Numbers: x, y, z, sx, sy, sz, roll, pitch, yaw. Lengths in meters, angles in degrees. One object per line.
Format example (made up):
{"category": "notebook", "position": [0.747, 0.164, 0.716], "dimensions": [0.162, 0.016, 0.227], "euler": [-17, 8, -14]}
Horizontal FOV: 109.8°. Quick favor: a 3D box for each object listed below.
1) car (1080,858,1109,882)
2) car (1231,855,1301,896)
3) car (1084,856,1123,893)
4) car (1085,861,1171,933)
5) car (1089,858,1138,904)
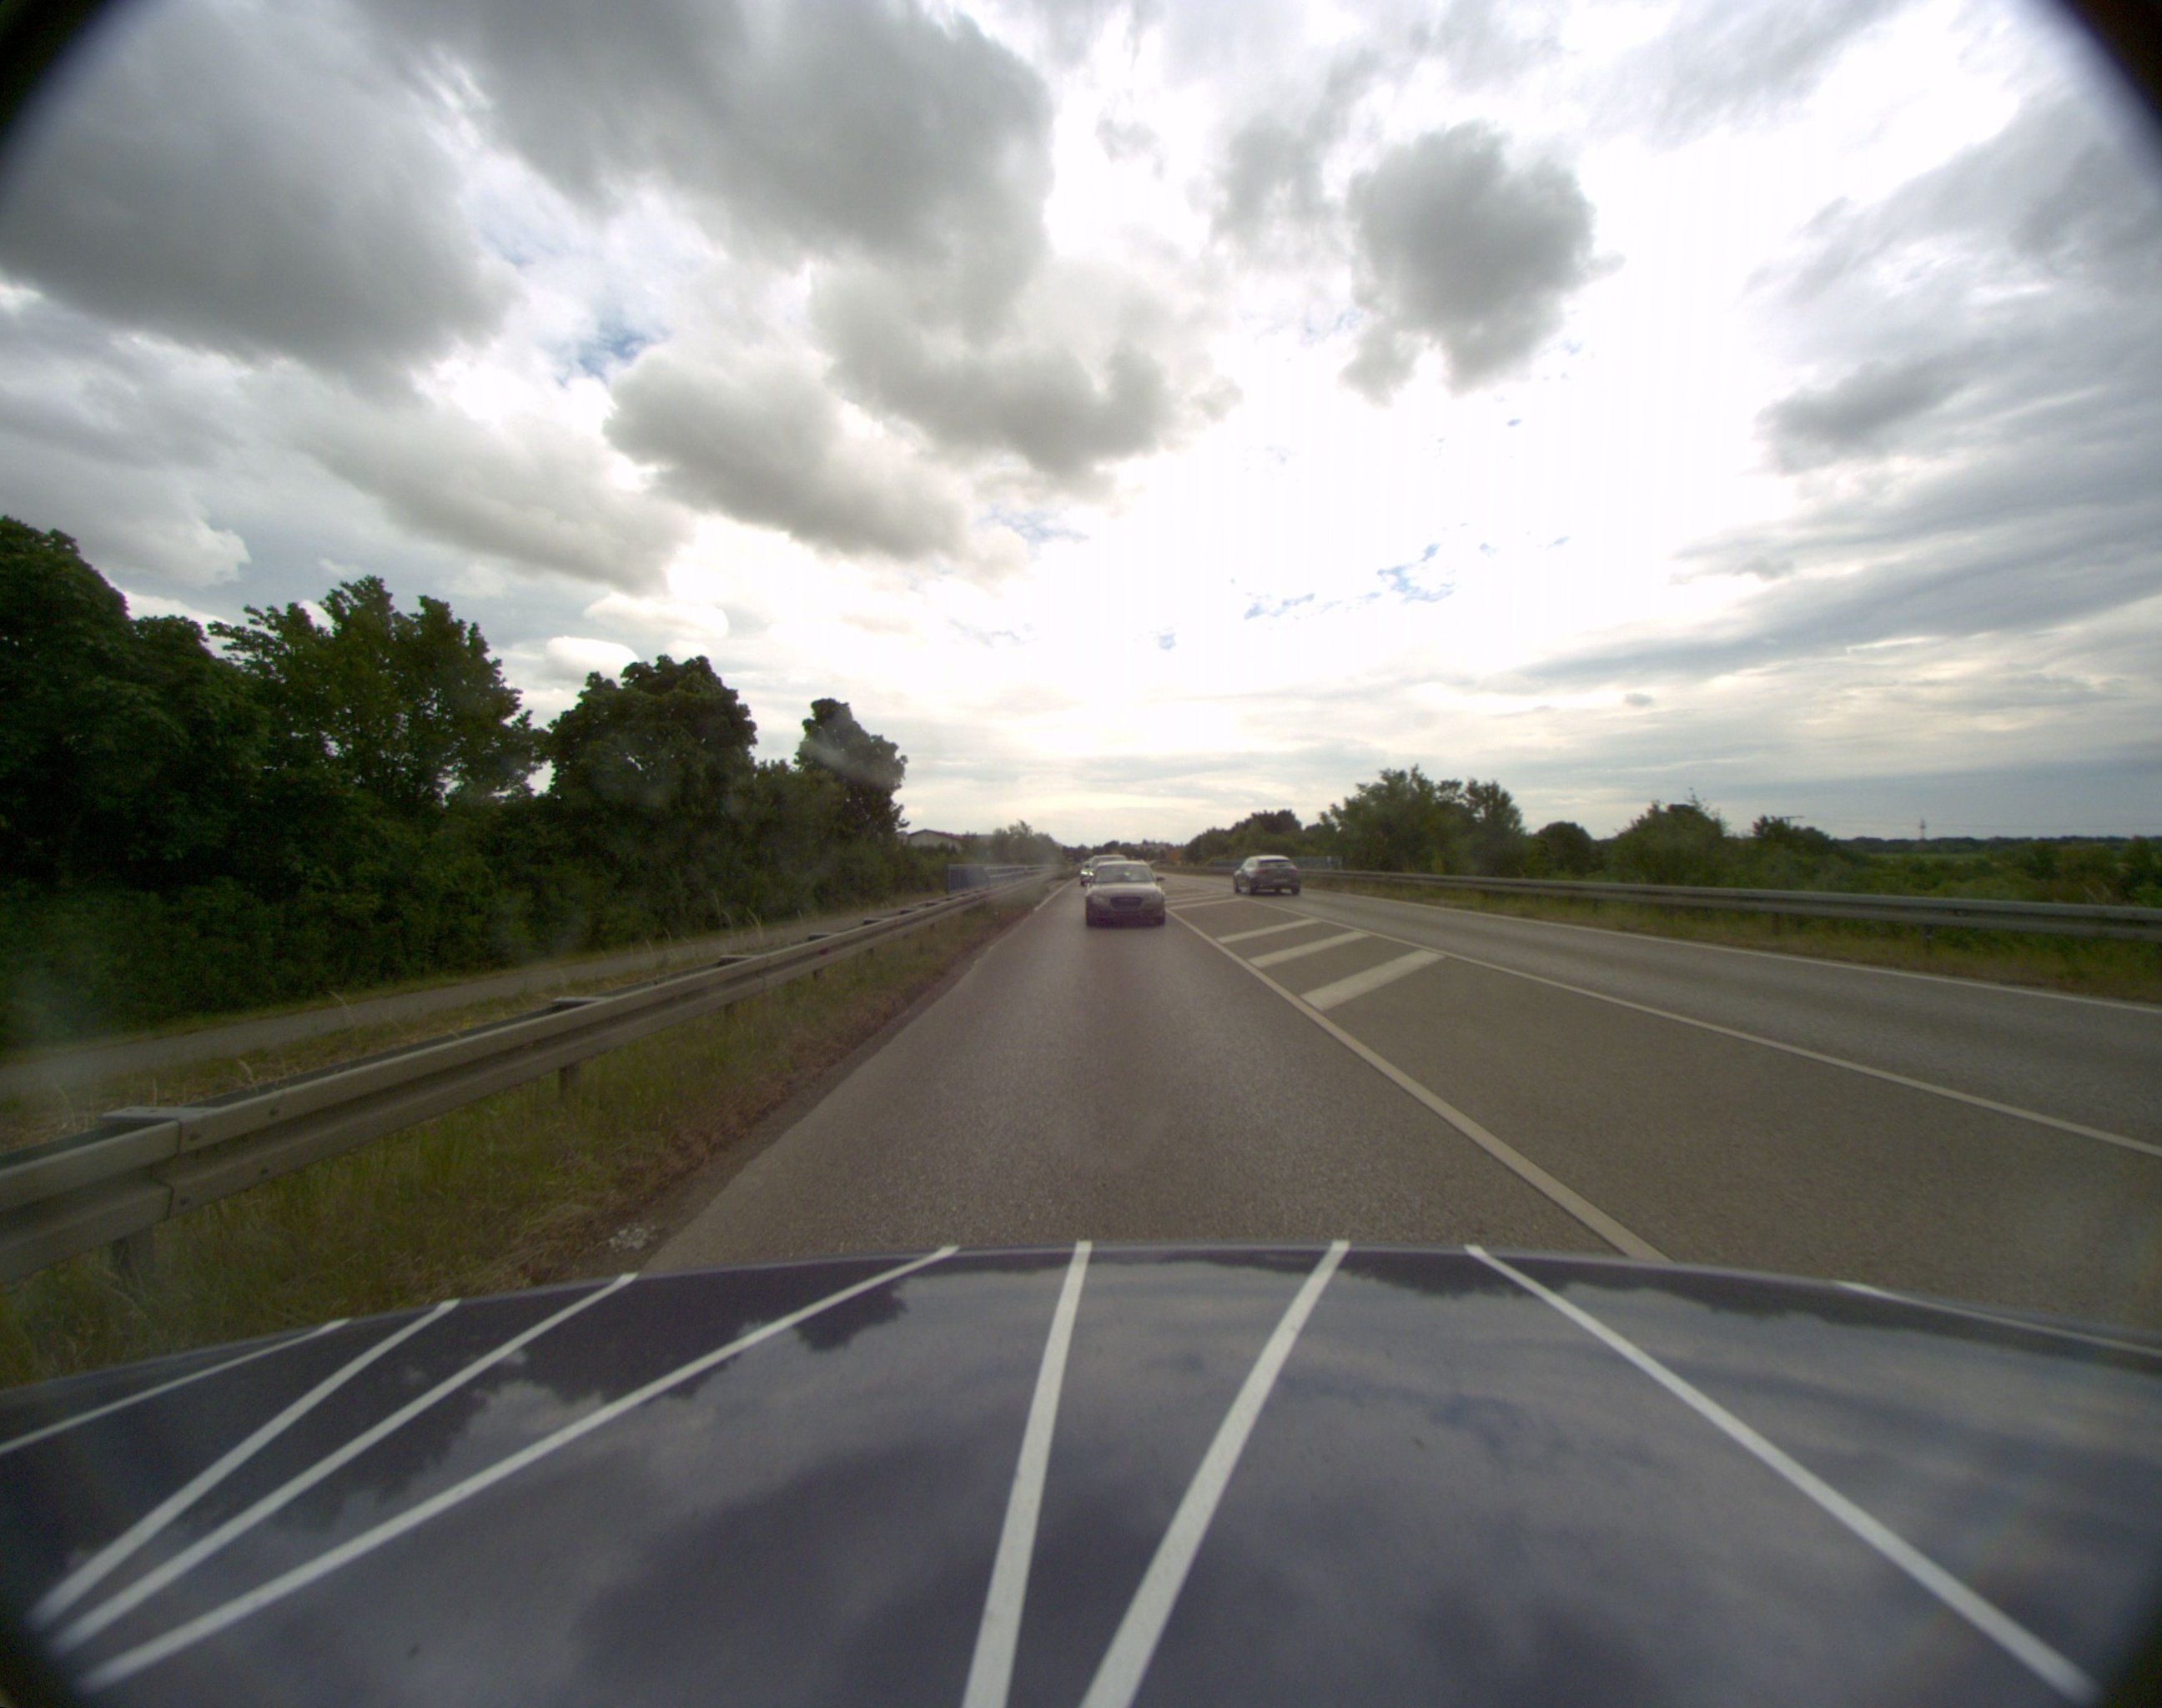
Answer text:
{"category": "car", "position": [0.823, 0.973, 47.061], "dimensions": [1.670, 1.339, 4.000], "euler": [-2, 0, 1]}
{"category": "car", "position": [6.908, 0.749, 28.807], "dimensions": [1.626, 1.371, 4.512], "euler": [-1, 0, 1]}
{"category": "car", "position": [1.032, 0.866, 34.198], "dimensions": [1.602, 1.494, 3.962], "euler": [-2, 0, 2]}
{"category": "car", "position": [1.007, 0.918, 17.828], "dimensions": [1.768, 1.383, 3.876], "euler": [-2, 1, 1]}
{"category": "car", "position": [1.169, 0.954, 28.747], "dimensions": [1.684, 1.521, 4.000], "euler": [-2, 0, 1]}
